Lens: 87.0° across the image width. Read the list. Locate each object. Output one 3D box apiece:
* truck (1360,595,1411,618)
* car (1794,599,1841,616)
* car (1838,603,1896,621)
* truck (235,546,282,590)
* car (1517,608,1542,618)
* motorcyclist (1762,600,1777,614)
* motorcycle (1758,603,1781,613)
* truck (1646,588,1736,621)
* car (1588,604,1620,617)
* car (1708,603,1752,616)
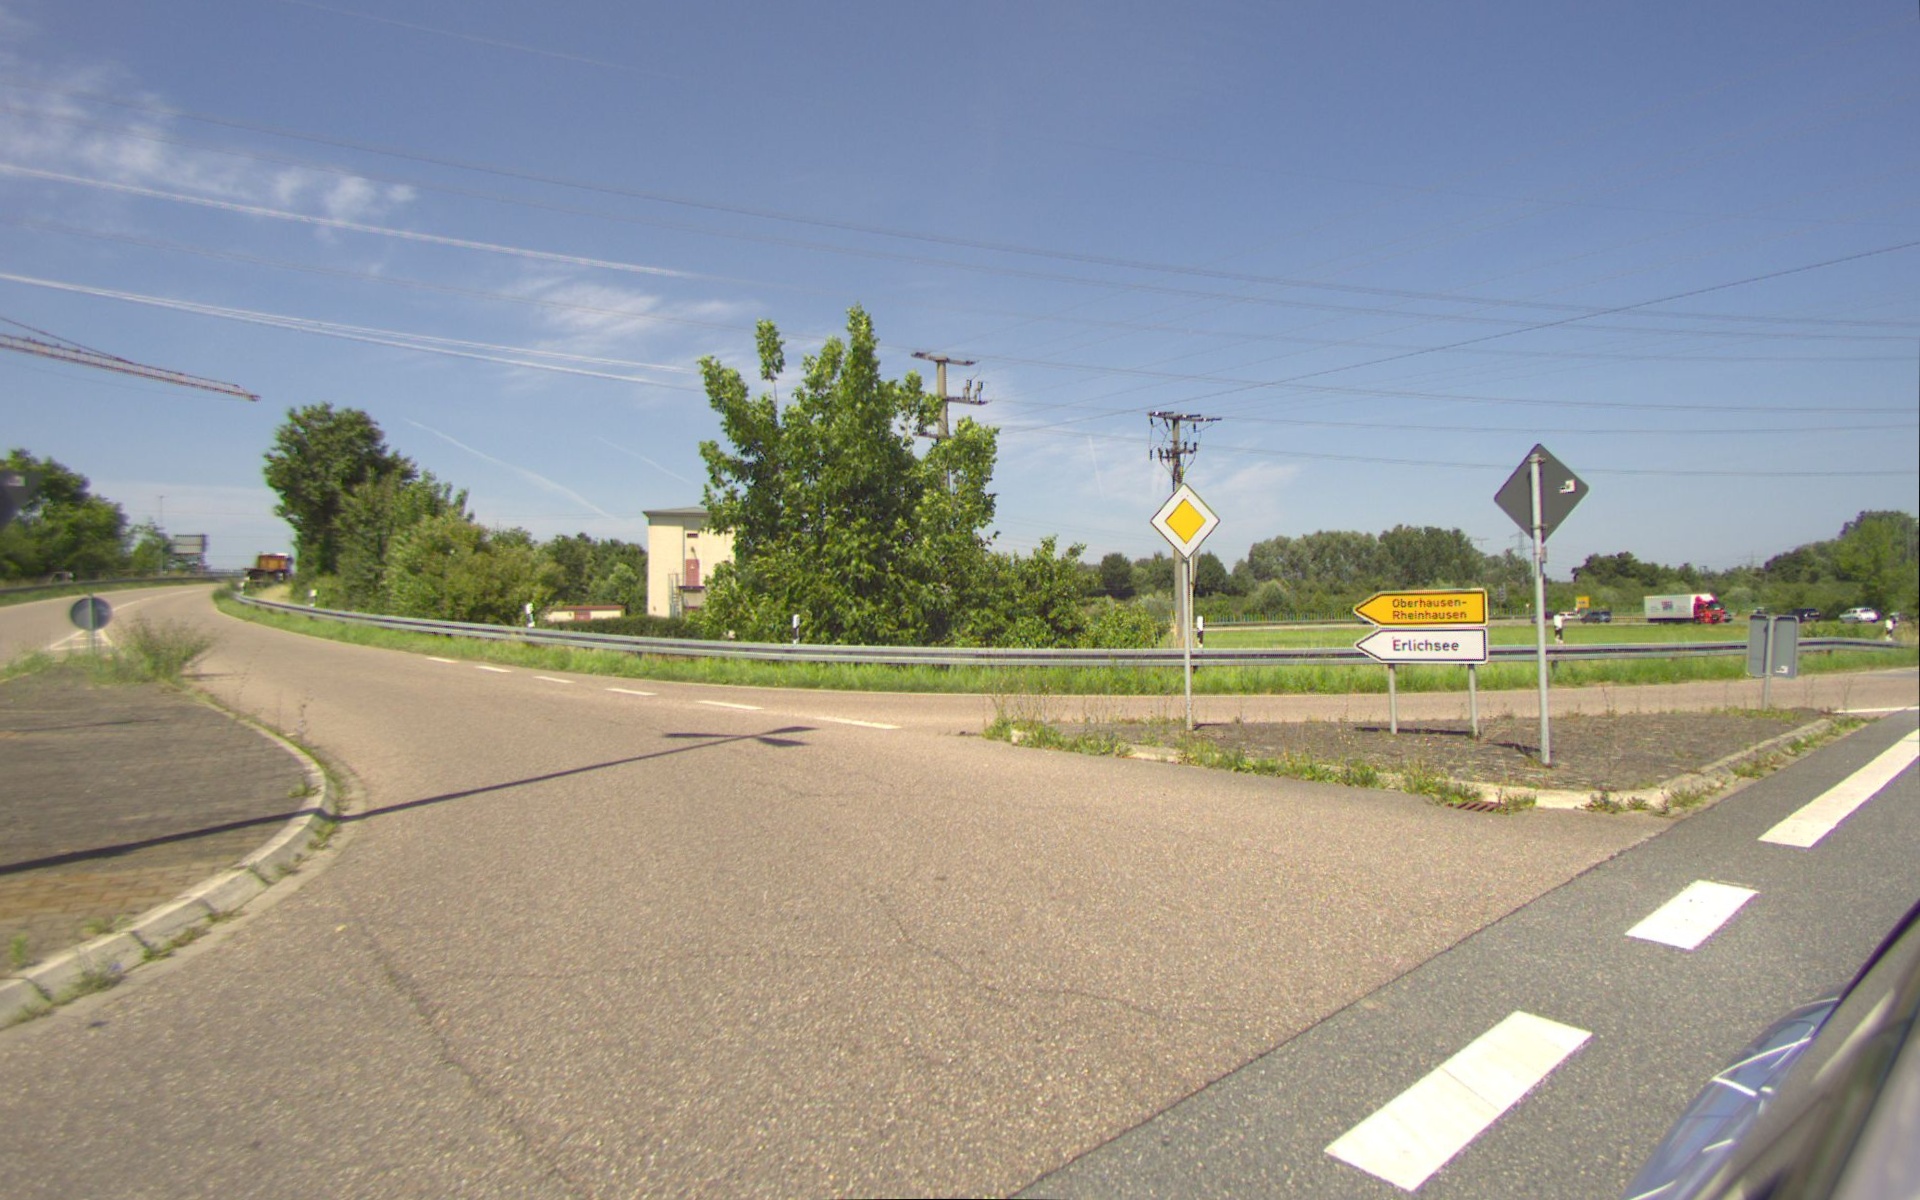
[{"bbox_3d":[70.855,1.108,168.544,7.453,3.516,2.613,-1,-2,-9],"label":"truck"},{"bbox_3d":[91.824,0.811,108.489,1.678,1.659,4.239,-4,-2,7],"label":"car"},{"bbox_3d":[89.999,1.237,100.510,1.830,1.622,4.762,-3,-3,9],"label":"car"},{"bbox_3d":[-67.074,-3.033,96.918,2.983,3.633,8.435,-3,-1,-31],"label":"truck"},{"bbox_3d":[91.170,2.118,162.131,1.606,1.478,4.007,-2,-2,-1],"label":"car"},{"bbox_3d":[92.286,0.804,115.437,0.769,1.514,1.129,-2,-1,4],"label":"motorcyclist"},{"bbox_3d":[92.304,0.941,115.426,0.770,1.138,2.427,-3,-1,4],"label":"motorcycle"},{"bbox_3d":[87.128,0.590,120.828,2.670,3.625,9.566,-3,-1,-7],"label":"truck"},{"bbox_3d":[92.529,1.498,145.454,1.897,1.856,4.435,-2,-1,2],"label":"car"},{"bbox_3d":[93.468,1.168,122.911,1.814,1.478,4.803,-3,-1,4],"label":"car"}]
